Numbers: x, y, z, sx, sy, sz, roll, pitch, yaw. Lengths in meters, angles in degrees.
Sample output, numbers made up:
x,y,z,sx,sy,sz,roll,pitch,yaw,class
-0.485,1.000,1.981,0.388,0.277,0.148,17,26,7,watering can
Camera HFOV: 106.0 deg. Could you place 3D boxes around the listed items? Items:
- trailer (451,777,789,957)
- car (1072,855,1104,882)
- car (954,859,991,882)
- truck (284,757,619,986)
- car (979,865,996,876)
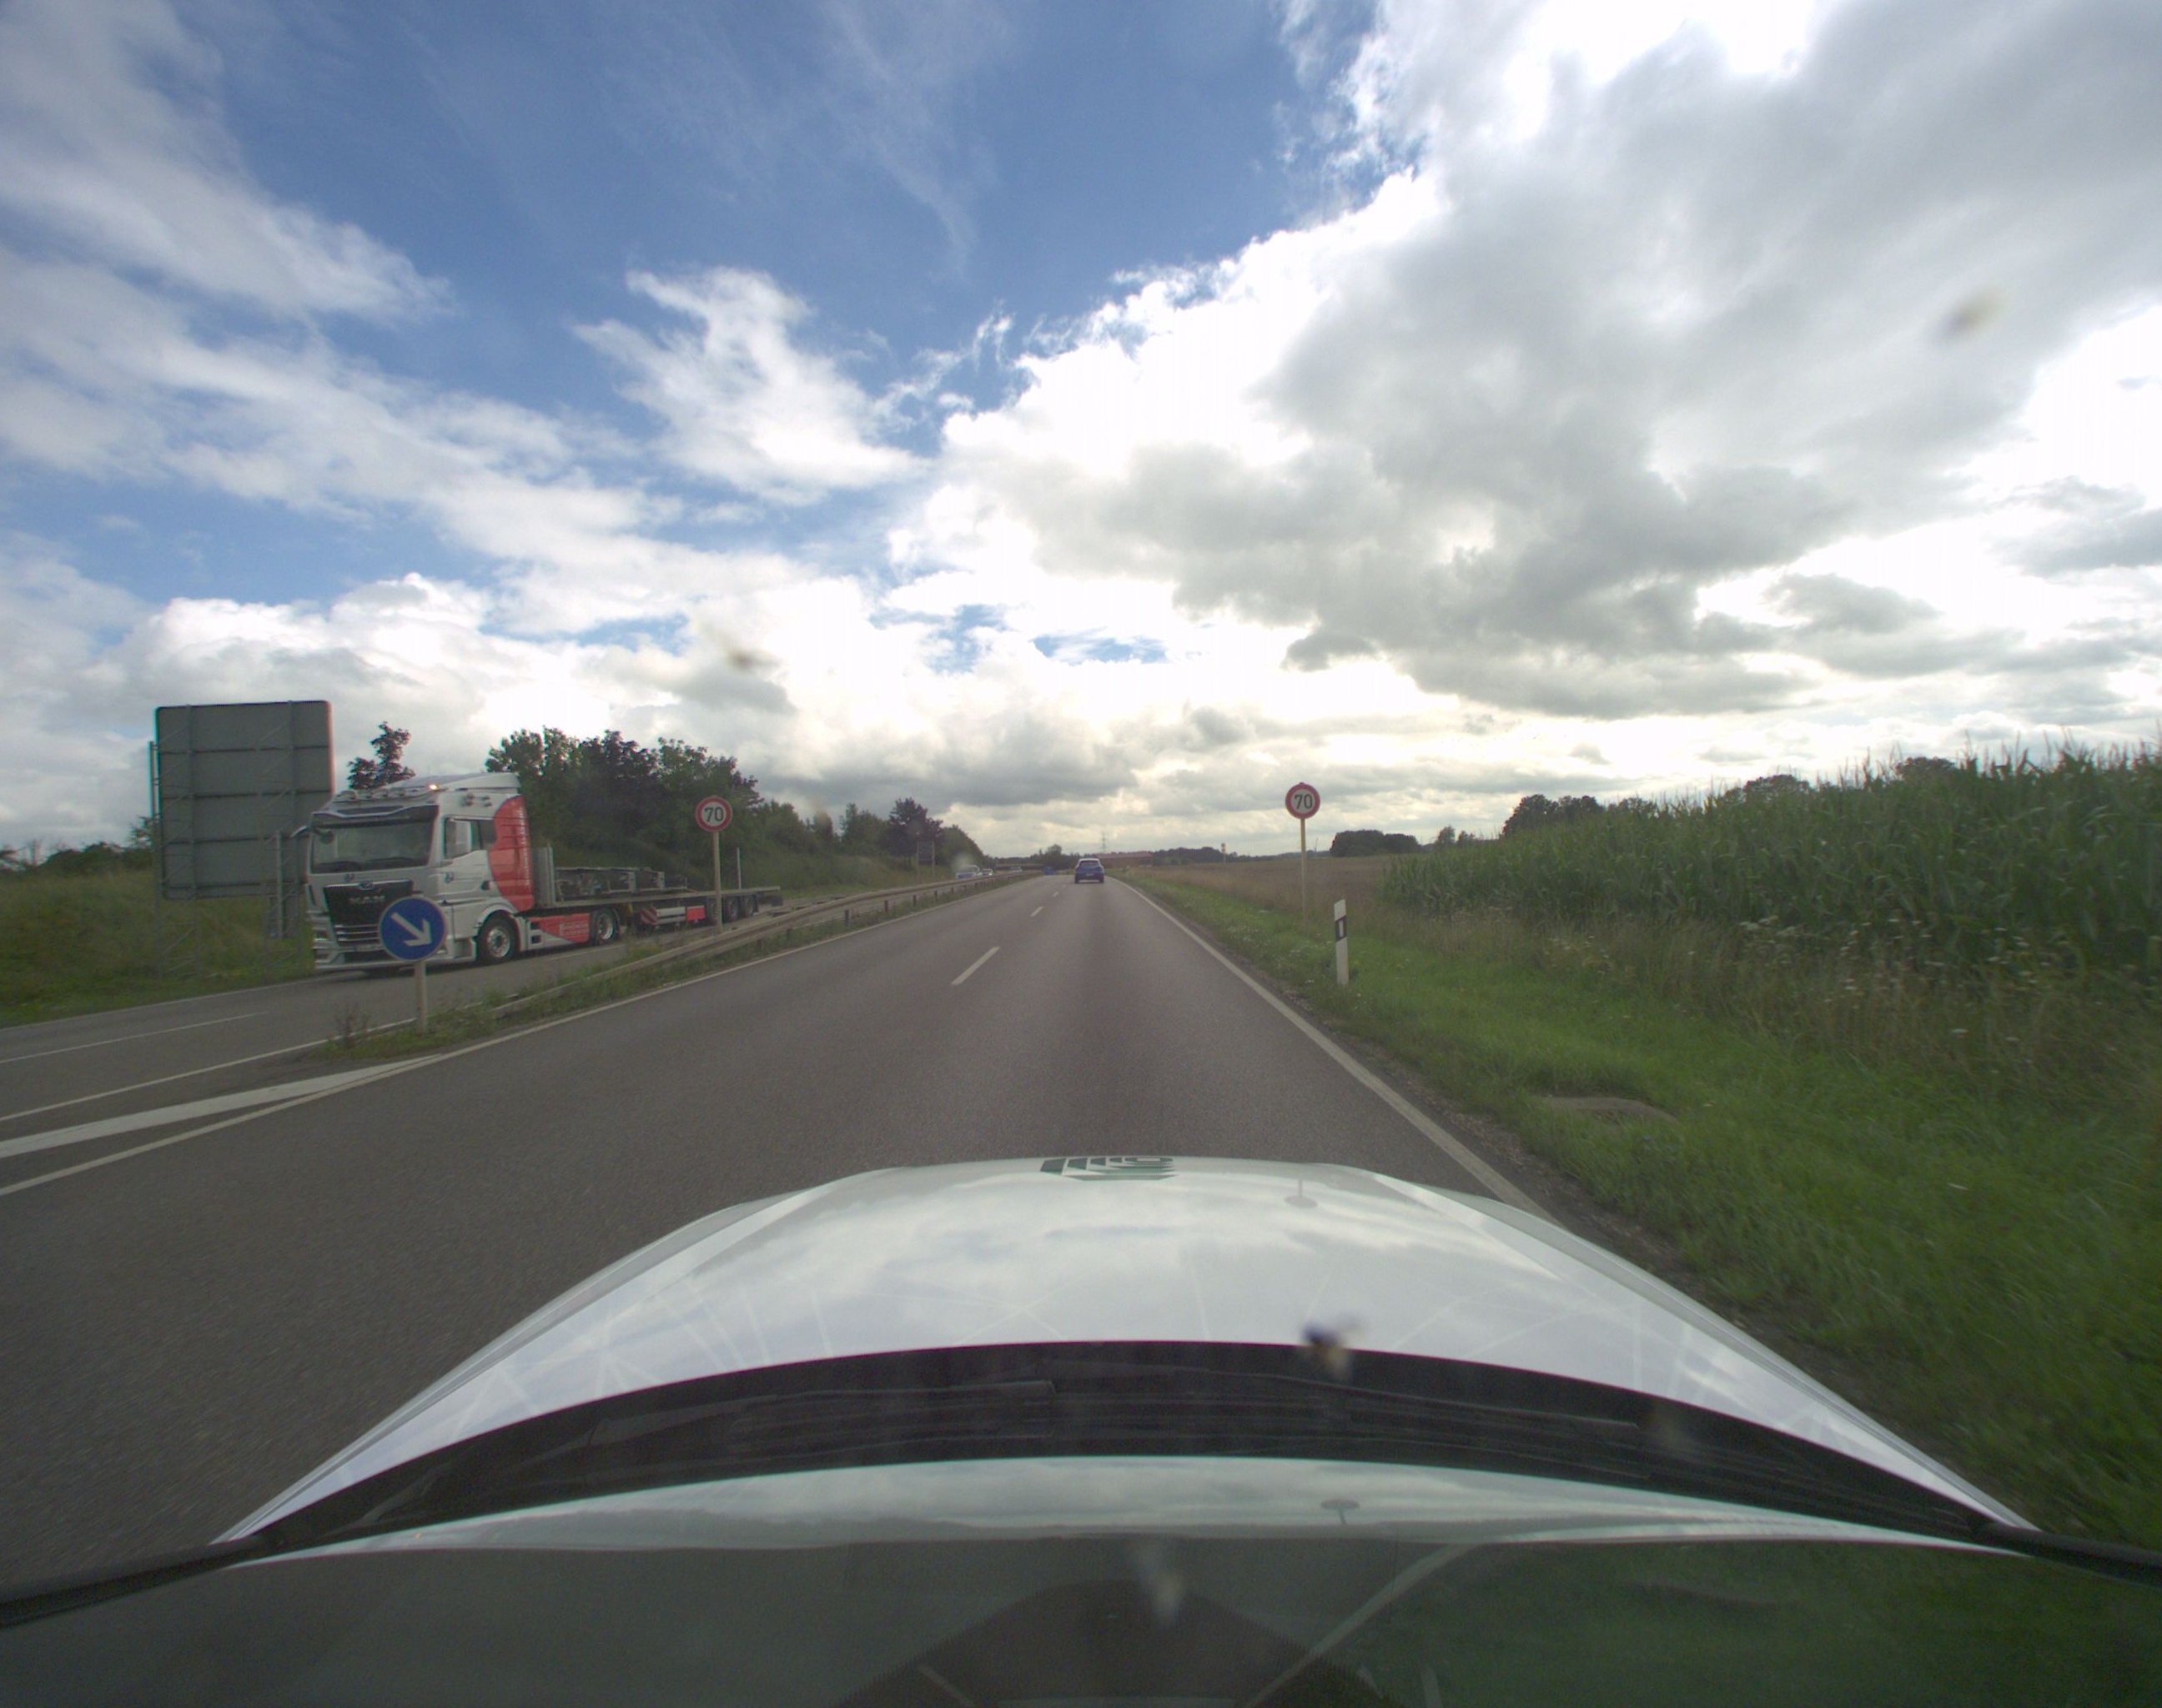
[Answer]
x,y,z,sx,sy,sz,roll,pitch,yaw,class
-12.779,0.269,24.946,2.766,3.947,12.984,-3,0,0,trailer
0.454,0.944,54.522,2.026,1.660,4.543,-1,-1,0,car
-8.048,1.194,60.725,2.078,1.519,4.194,-3,0,1,car
-12.846,0.301,17.322,2.793,3.997,5.287,-3,0,0,truck
-12.594,2.203,110.333,1.686,1.324,4.417,-3,0,0,car
